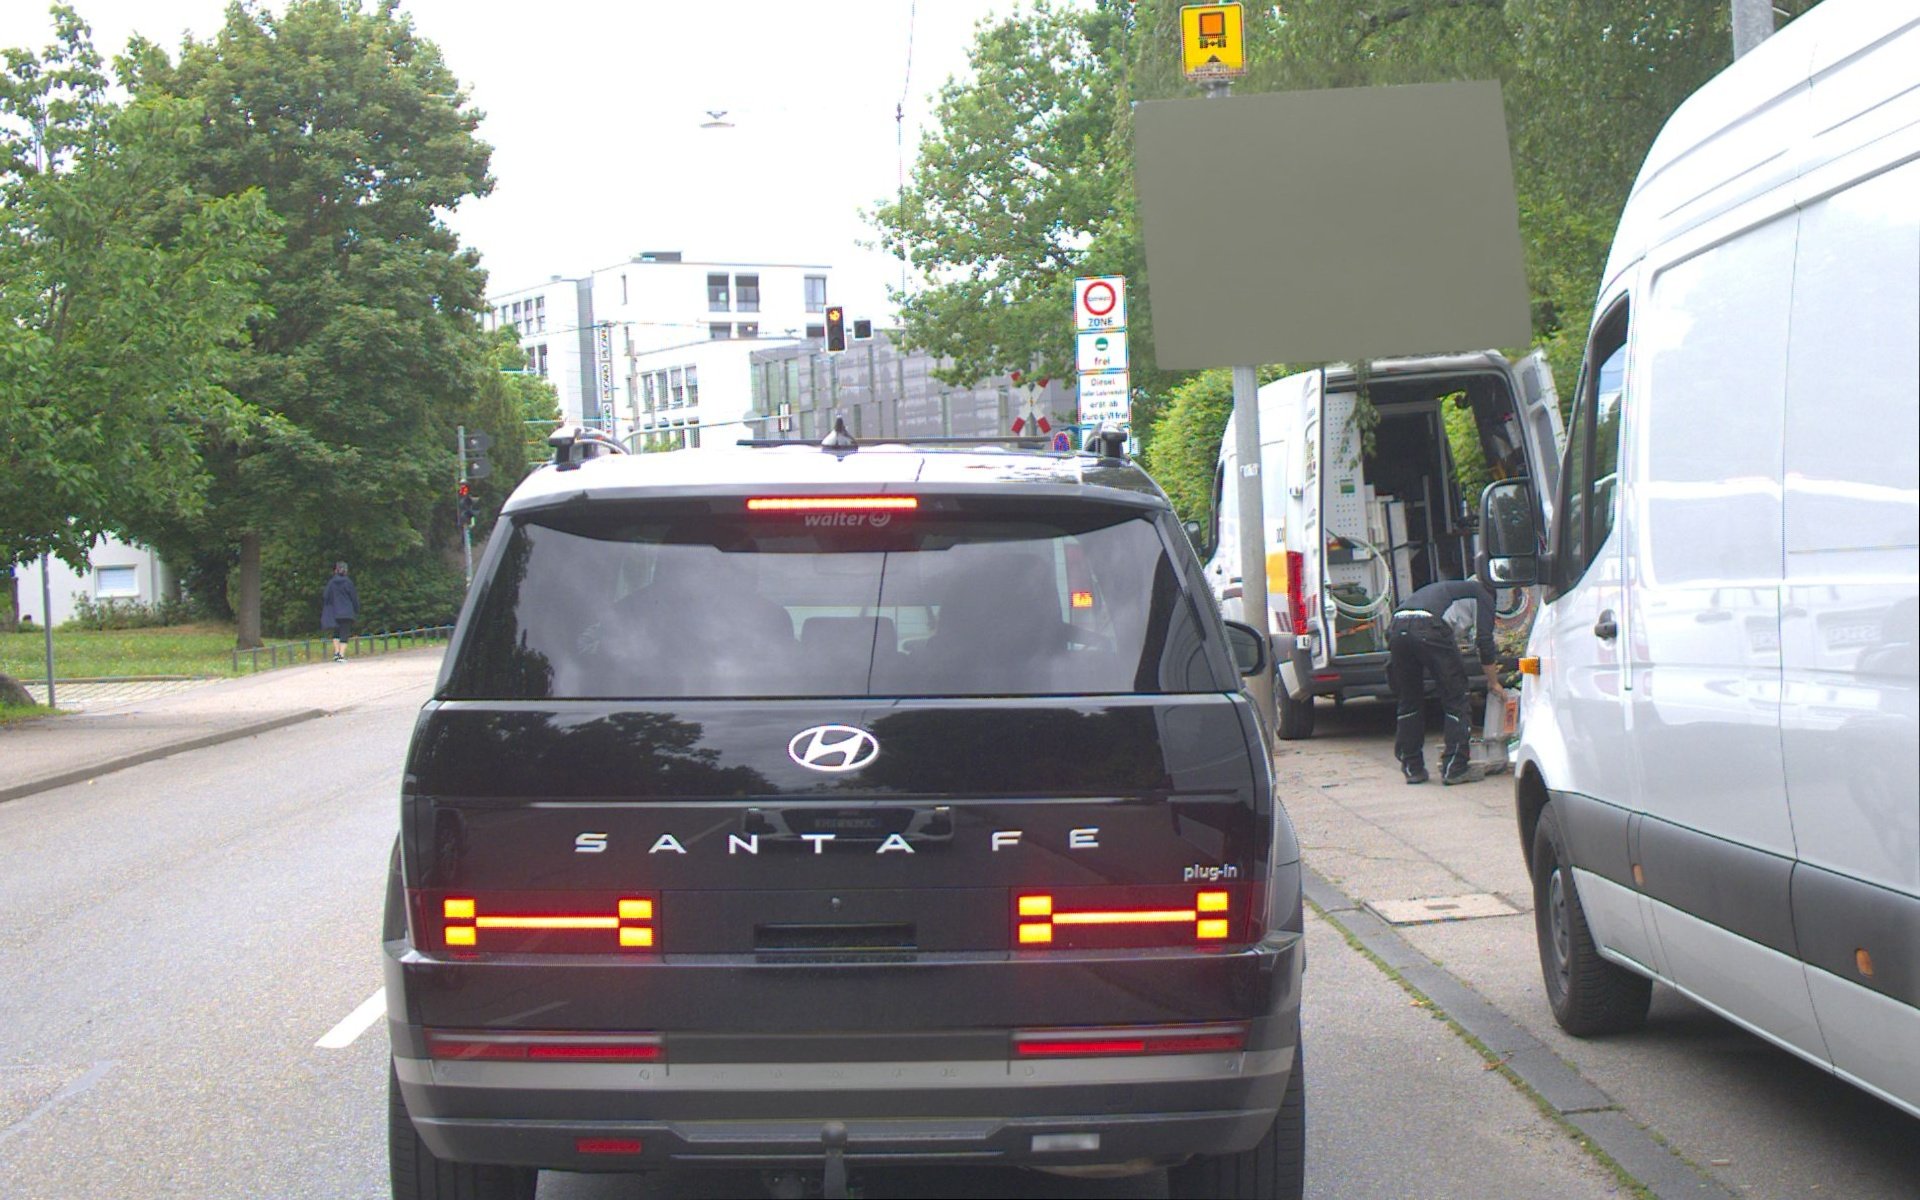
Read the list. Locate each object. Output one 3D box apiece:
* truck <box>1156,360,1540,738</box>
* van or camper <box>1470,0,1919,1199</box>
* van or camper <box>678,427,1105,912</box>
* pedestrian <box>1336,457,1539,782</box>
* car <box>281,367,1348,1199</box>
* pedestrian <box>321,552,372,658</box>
[{"bbox_3d":[2.891,-0.381,26.851,1.942,2.553,5.217,-3,1,-4],"label":"truck"},{"bbox_3d":[2.636,-0.051,7.284,1.993,2.611,6.541,-2,1,-1],"label":"van or camper"},{"bbox_3d":[-0.314,0.265,16.640,1.754,2.007,4.000,-2,1,-1],"label":"van or camper"},{"bbox_3d":[2.718,0.100,19.547,0.759,1.791,0.871,-1,1,38],"label":"pedestrian"},{"bbox_3d":[-0.278,0.465,8.120,1.889,1.813,4.000,0,1,-1],"label":"car"},{"bbox_3d":[-10.057,0.073,56.351,0.738,1.709,0.793,-2,1,-7],"label":"pedestrian"}]
